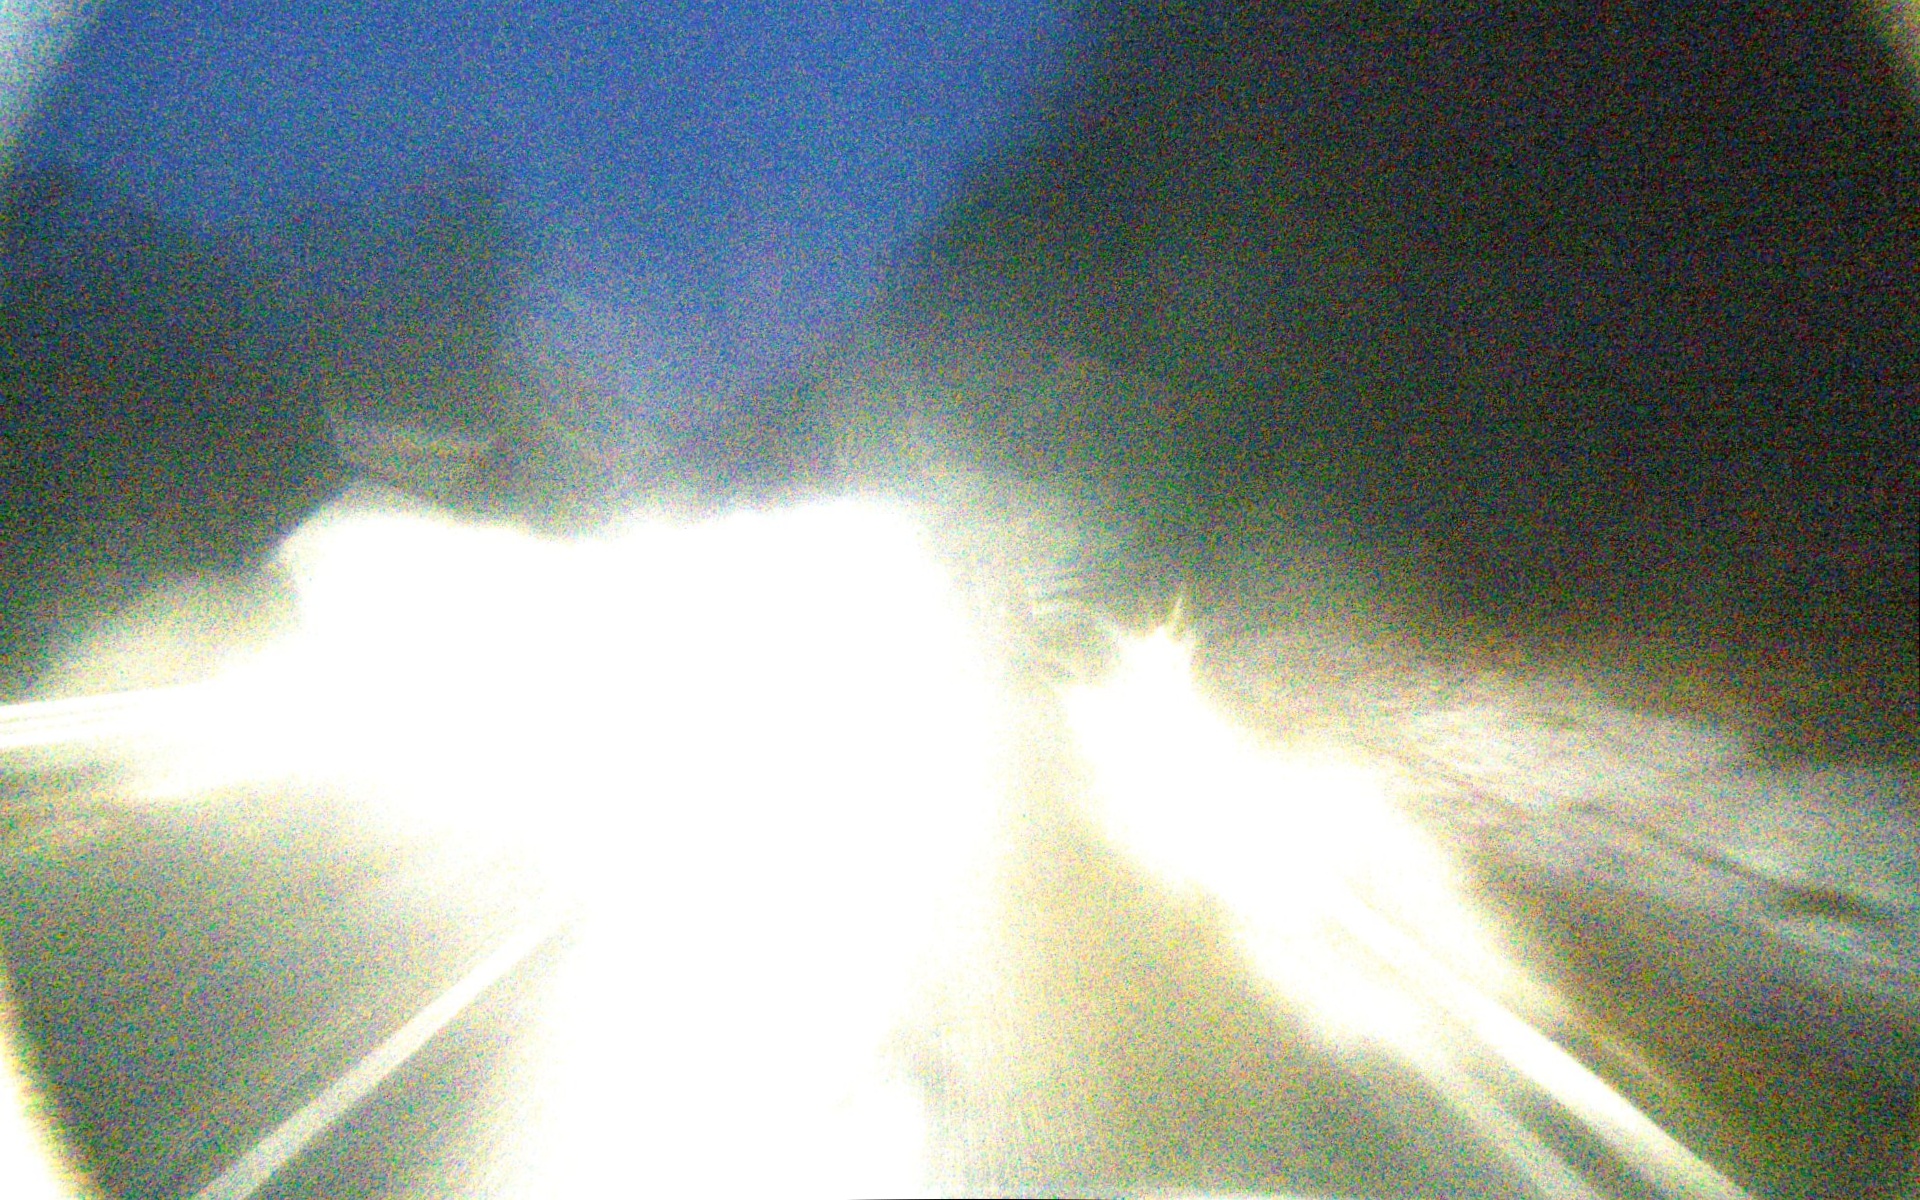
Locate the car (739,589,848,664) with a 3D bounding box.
[{"bbox_3d":[-3.457,0.522,35.127,1.878,1.489,4.259,0,0,0],"label":"car"}]
